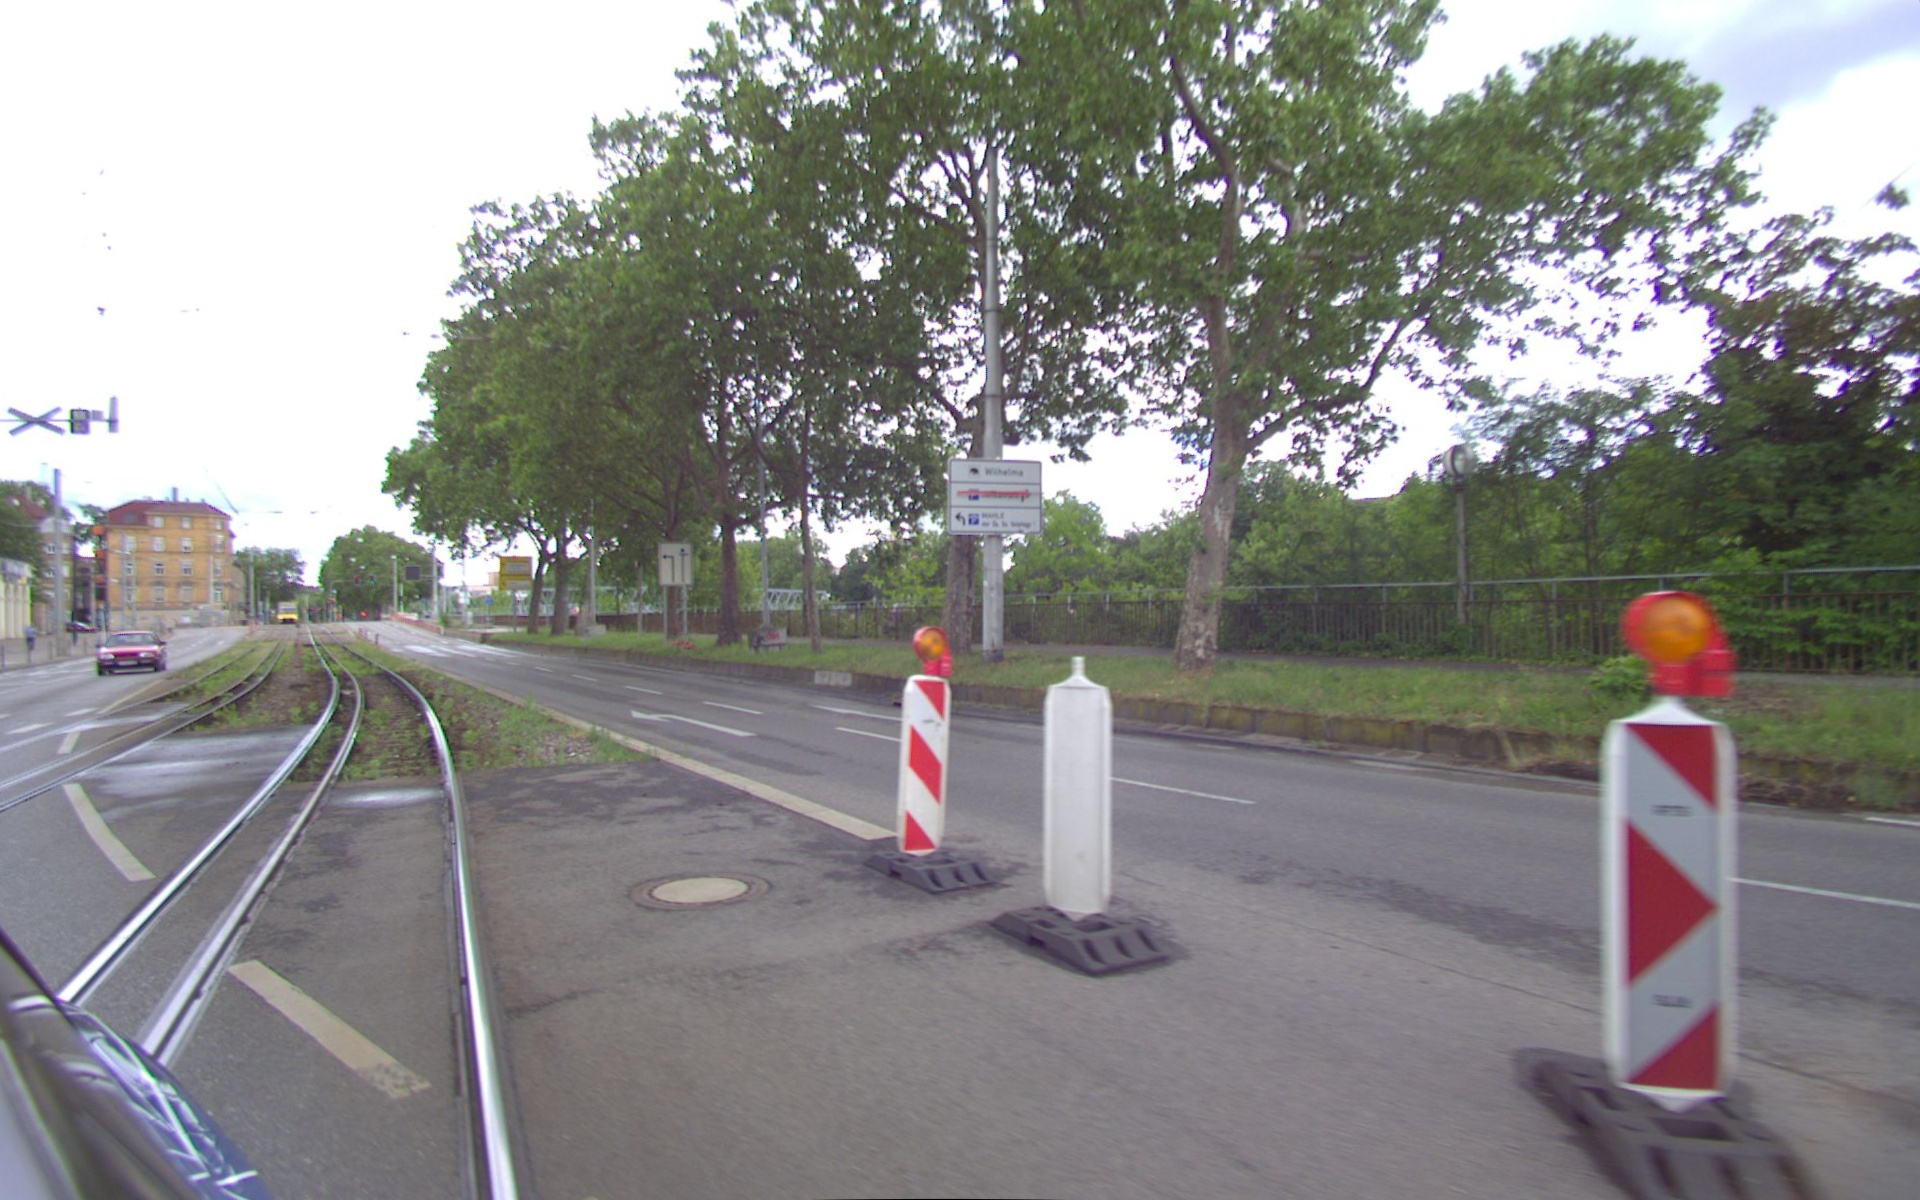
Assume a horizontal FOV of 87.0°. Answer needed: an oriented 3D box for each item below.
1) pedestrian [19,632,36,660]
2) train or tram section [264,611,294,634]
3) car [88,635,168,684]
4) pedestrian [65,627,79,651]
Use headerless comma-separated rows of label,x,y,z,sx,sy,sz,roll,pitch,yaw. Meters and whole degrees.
pedestrian,-59.310,2.916,64.350,0.661,1.781,0.939,0,-1,-34
train or tram section,-109.346,3.536,162.352,3.679,3.391,17.602,1,-1,-35
car,-28.242,1.983,34.458,1.654,1.453,4.130,-3,0,-34
pedestrian,-67.535,2.964,76.986,0.661,1.781,0.939,0,-1,-34
